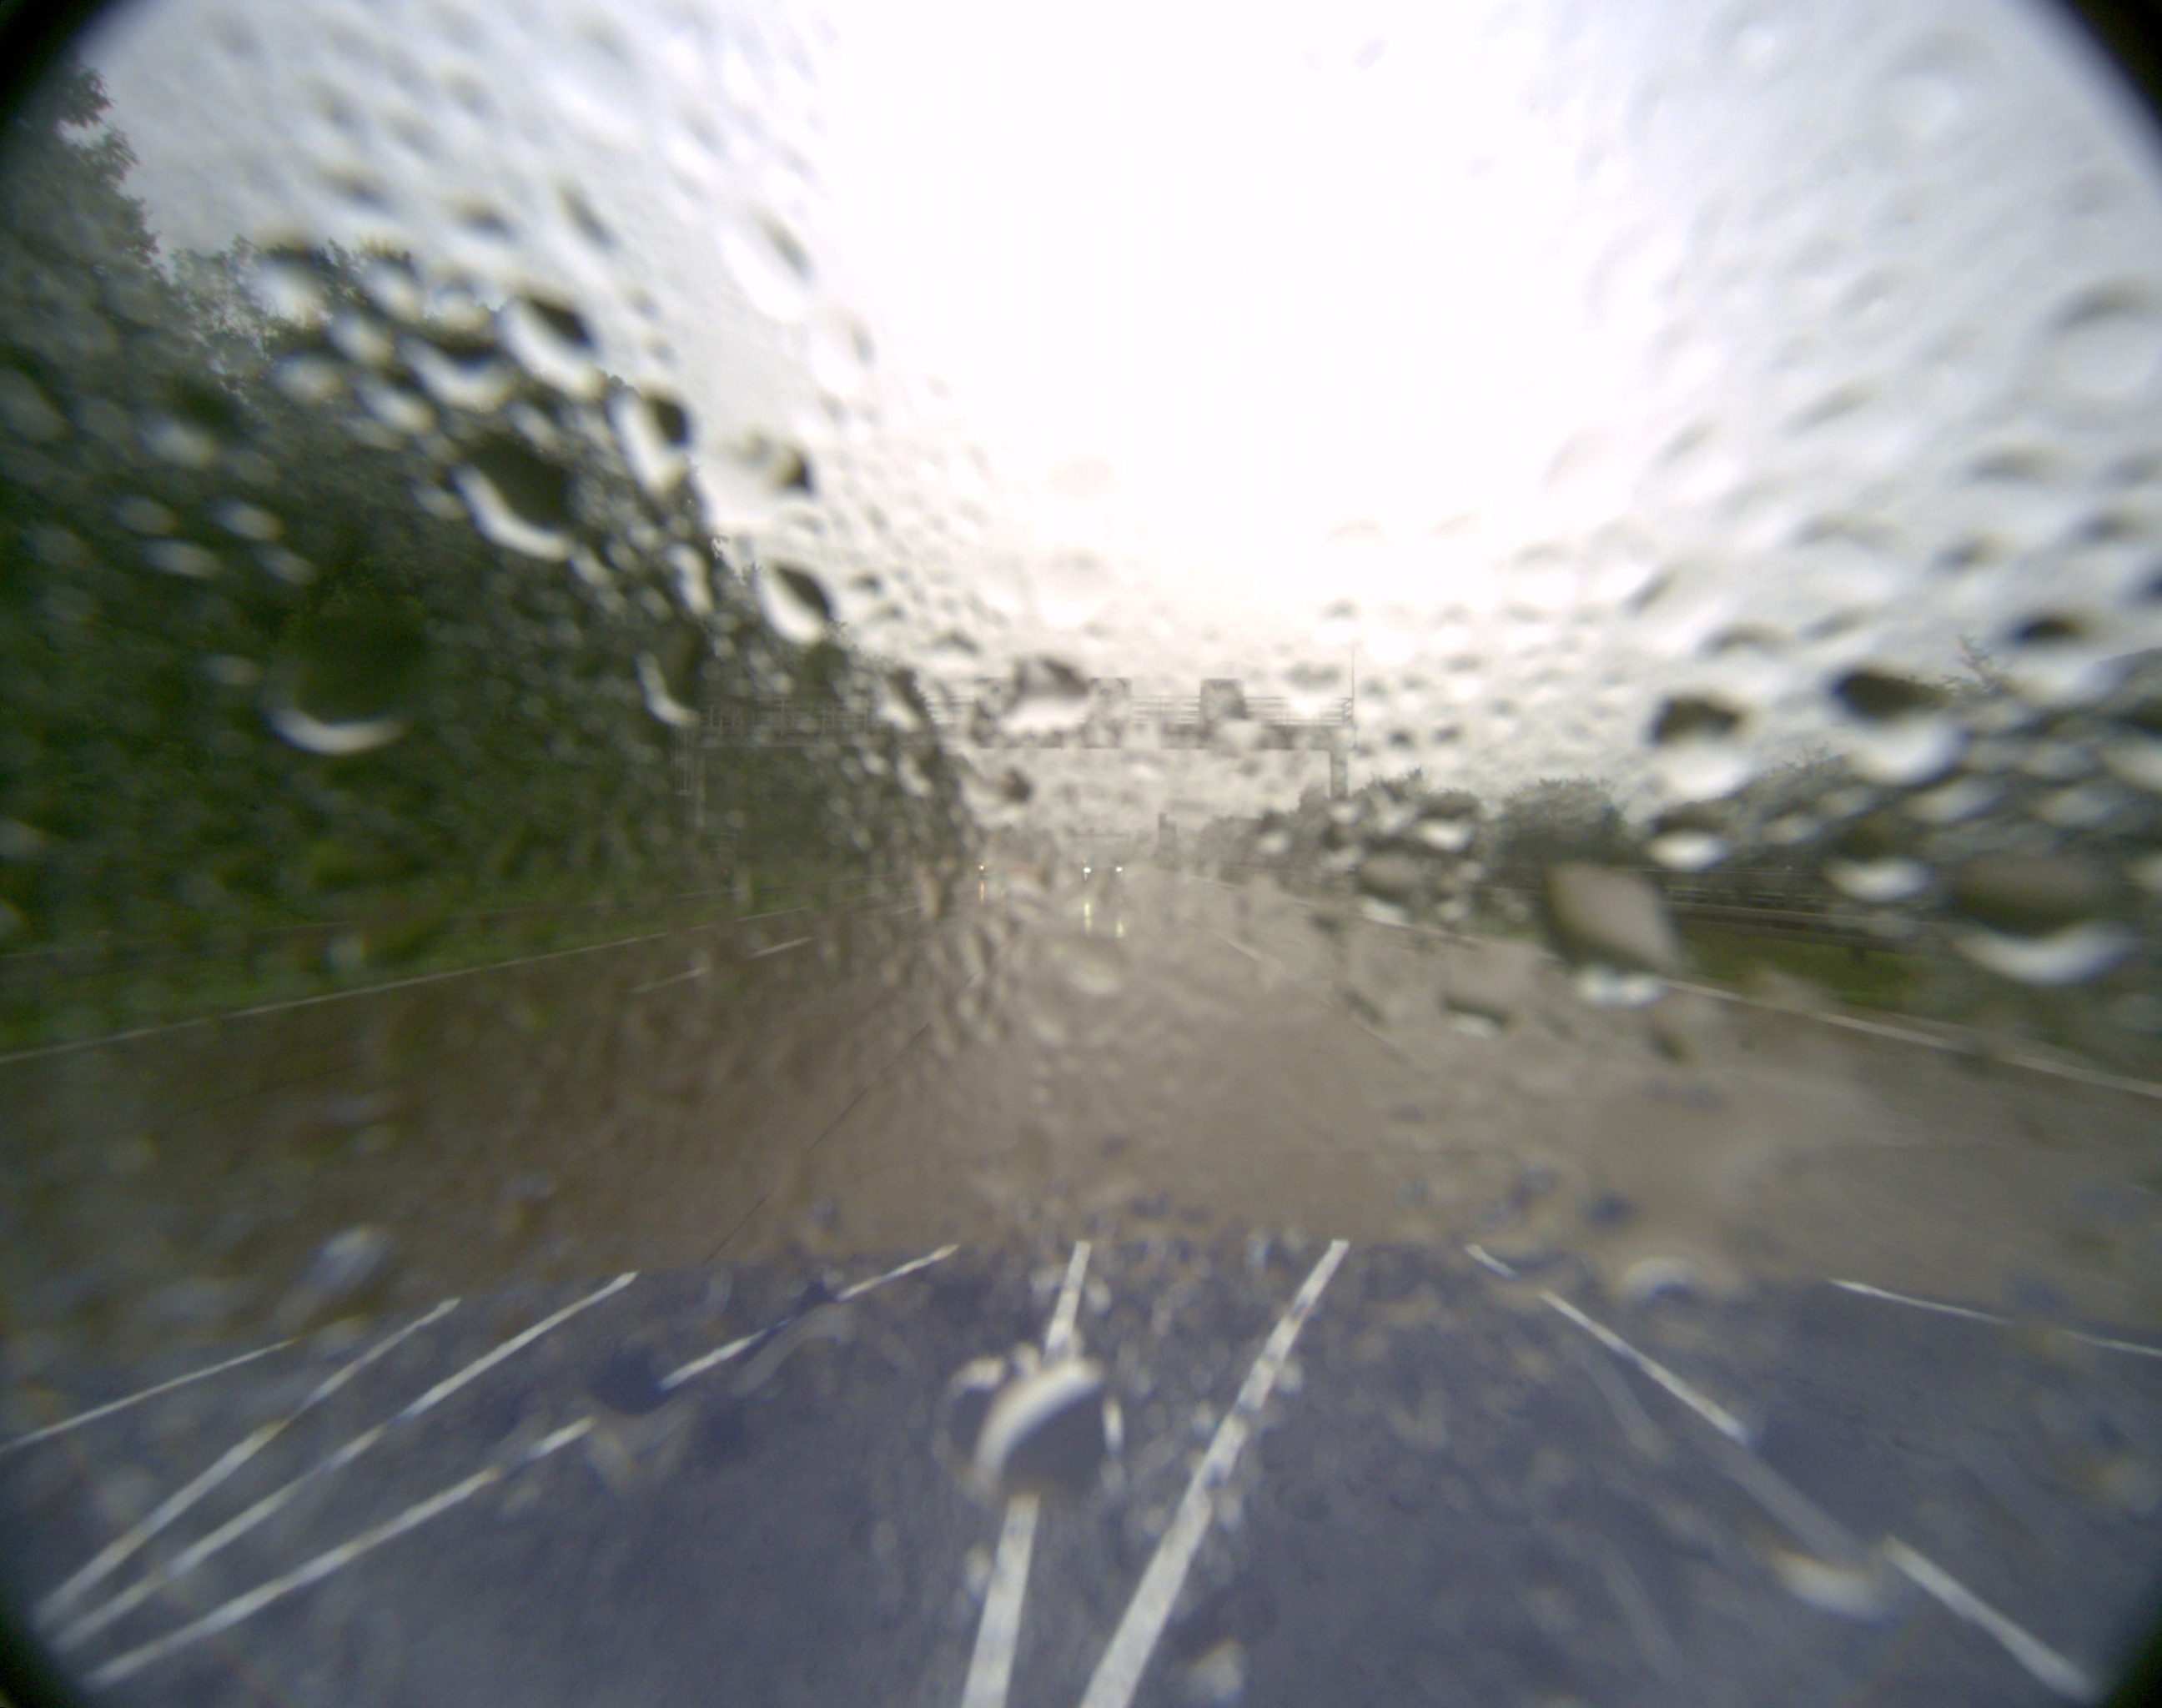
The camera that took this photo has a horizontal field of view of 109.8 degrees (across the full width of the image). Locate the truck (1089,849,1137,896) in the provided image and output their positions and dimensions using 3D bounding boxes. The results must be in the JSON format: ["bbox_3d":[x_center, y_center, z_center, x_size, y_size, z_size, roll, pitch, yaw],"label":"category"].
[{"bbox_3d":[1.425,0.773,36.442,1.998,2.002,7.575,0,0,0],"label":"truck"}]

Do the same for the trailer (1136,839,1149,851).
[{"bbox_3d":[20.385,-3.000,252.394,2.859,3.522,13.704,-2,1,-1],"label":"trailer"}]

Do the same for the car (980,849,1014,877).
[{"bbox_3d":[-6.181,0.620,56.358,1.859,2.002,4.001,-1,0,3],"label":"car"}]

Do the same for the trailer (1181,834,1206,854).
[{"bbox_3d":[23.655,-2.051,160.642,3.363,4.149,11.400,-1,0,0],"label":"trailer"}]
